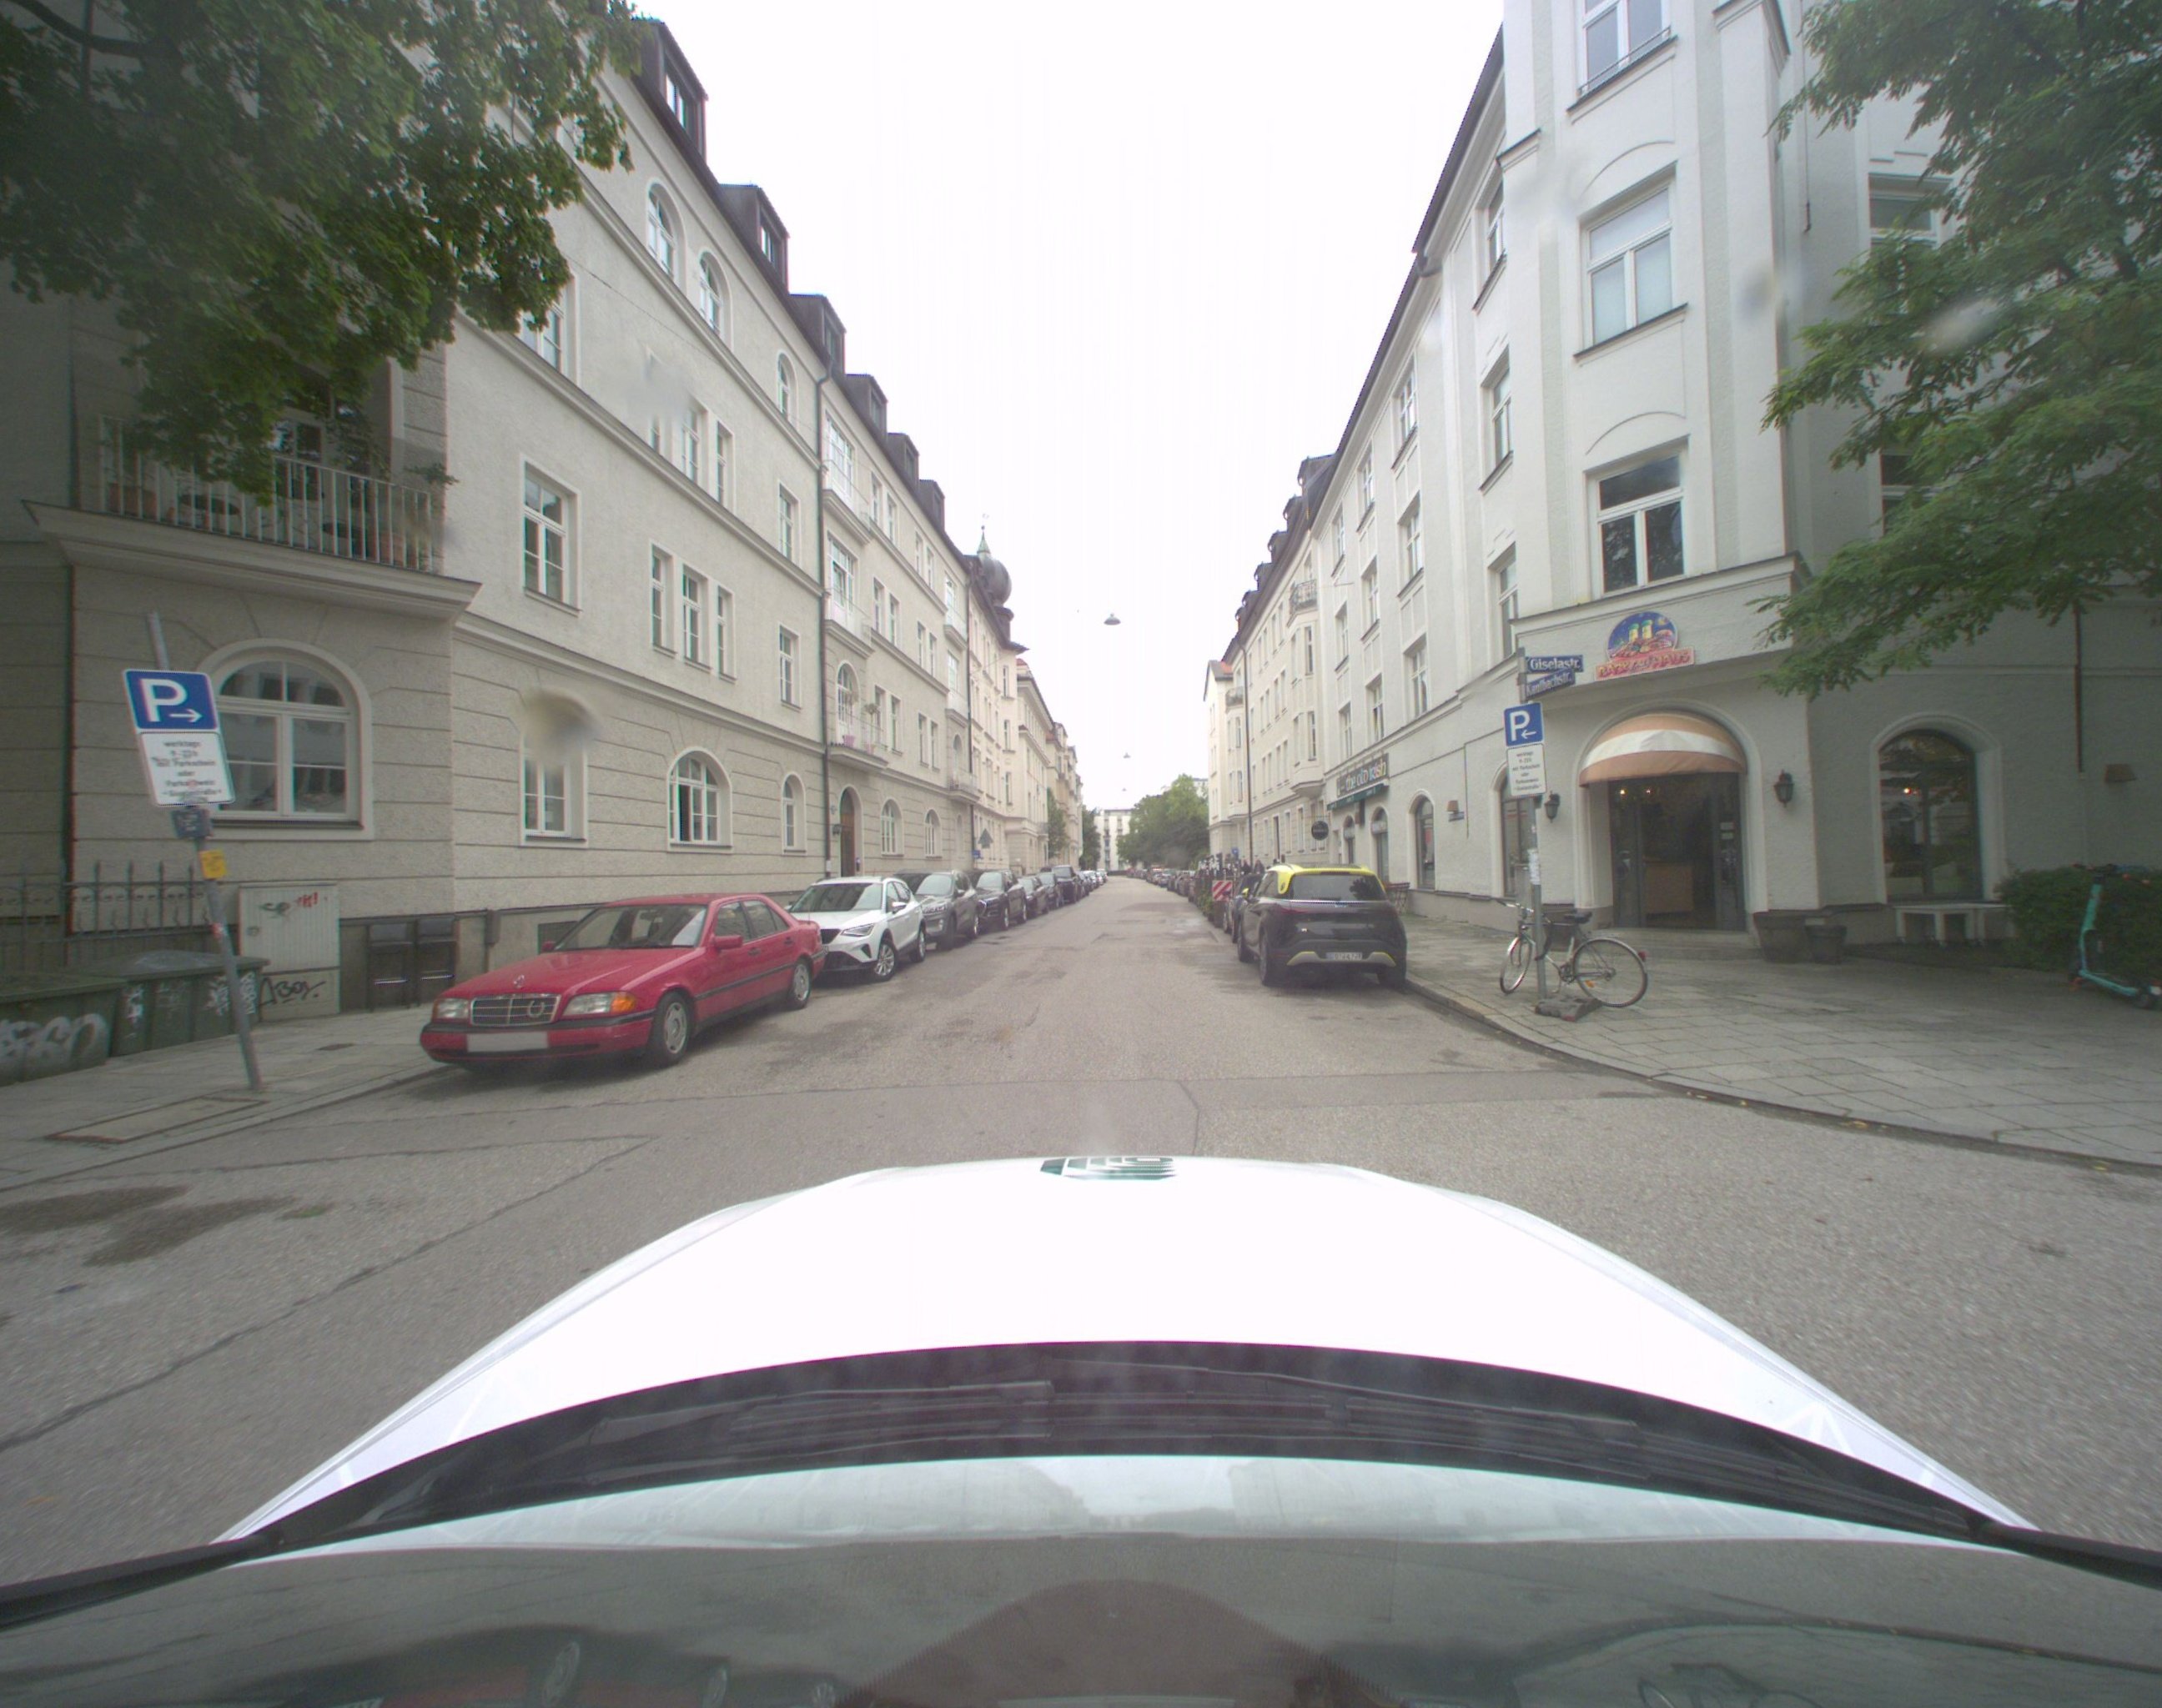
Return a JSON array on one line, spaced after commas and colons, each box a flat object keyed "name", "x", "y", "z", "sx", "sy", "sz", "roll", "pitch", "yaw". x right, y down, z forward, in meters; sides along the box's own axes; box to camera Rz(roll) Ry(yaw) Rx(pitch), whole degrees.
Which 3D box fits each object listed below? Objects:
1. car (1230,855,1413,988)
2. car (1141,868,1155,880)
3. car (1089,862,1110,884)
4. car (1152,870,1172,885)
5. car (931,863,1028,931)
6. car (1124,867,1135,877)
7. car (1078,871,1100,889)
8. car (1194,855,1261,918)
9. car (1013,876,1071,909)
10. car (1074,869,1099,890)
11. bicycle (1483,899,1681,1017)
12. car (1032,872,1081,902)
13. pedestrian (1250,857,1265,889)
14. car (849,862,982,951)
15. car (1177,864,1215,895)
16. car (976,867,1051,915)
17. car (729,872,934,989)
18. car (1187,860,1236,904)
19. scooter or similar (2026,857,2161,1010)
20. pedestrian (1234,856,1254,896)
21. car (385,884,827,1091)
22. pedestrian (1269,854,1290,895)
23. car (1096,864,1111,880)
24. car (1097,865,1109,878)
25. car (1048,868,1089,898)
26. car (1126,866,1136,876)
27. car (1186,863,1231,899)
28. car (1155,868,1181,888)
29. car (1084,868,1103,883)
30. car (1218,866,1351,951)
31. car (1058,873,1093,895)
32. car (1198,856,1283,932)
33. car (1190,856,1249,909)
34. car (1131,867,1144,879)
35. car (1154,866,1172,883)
[{"name": "car", "x": 3.384, "y": 0.867, "z": 12.282, "sx": 1.811, "sy": 1.636, "sz": 4.294, "roll": 1, "pitch": -1, "yaw": 4}, {"name": "car", "x": 10.401, "y": 3.115, "z": 125.984, "sx": 1.942, "sy": 1.652, "sz": 4.002, "roll": -3, "pitch": -1, "yaw": 2}, {"name": "car", "x": 1.816, "y": 1.805, "z": 79.203, "sx": 1.838, "sy": 2.014, "sz": 4.002, "roll": -1, "pitch": -1, "yaw": 3}, {"name": "car", "x": 8.077, "y": 2.320, "z": 81.016, "sx": 1.723, "sy": 1.418, "sz": 3.854, "roll": -1, "pitch": -1, "yaw": 2}, {"name": "car", "x": -2.720, "y": 1.135, "z": 22.826, "sx": 1.986, "sy": 1.676, "sz": 4.291, "roll": -1, "pitch": -1, "yaw": 2}, {"name": "car", "x": 9.795, "y": 3.567, "z": 165.525, "sx": 1.986, "sy": 1.982, "sz": 4.893, "roll": -1, "pitch": -1, "yaw": 1}, {"name": "car", "x": 0.695, "y": 2.142, "z": 68.849, "sx": 1.727, "sy": 1.420, "sz": 4.001, "roll": -1, "pitch": -1, "yaw": 1}, {"name": "car", "x": 4.791, "y": 1.033, "z": 27.121, "sx": 1.811, "sy": 1.923, "sz": 4.188, "roll": 1, "pitch": -1, "yaw": 4}, {"name": "car", "x": -1.595, "y": 1.592, "z": 34.653, "sx": 1.897, "sy": 1.222, "sz": 4.005, "roll": -1, "pitch": -1, "yaw": 5}, {"name": "car", "x": 0.469, "y": 1.938, "z": 62.892, "sx": 1.813, "sy": 1.574, "sz": 4.001, "roll": -1, "pitch": -1, "yaw": 2}, {"name": "bicycle", "x": 5.112, "y": 1.011, "z": 8.456, "sx": 0.541, "sy": 0.999, "sz": 1.744, "roll": -4, "pitch": 0, "yaw": -19}, {"name": "car", "x": -1.132, "y": 1.572, "z": 39.578, "sx": 1.897, "sy": 1.329, "sz": 4.005, "roll": -1, "pitch": -1, "yaw": 5}, {"name": "pedestrian", "x": 10.124, "y": 1.087, "z": 46.726, "sx": 0.773, "sy": 1.851, "sz": 0.862, "roll": -2, "pitch": -1, "yaw": 12}, {"name": "car", "x": -3.451, "y": 1.048, "z": 17.784, "sx": 1.986, "sy": 1.676, "sz": 4.013, "roll": -1, "pitch": -1, "yaw": 1}, {"name": "car", "x": 6.699, "y": 1.465, "z": 47.927, "sx": 1.984, "sy": 1.693, "sz": 4.177, "roll": -1, "pitch": -1, "yaw": 5}, {"name": "car", "x": -2.302, "y": 1.254, "z": 28.866, "sx": 1.916, "sy": 1.546, "sz": 4.006, "roll": -1, "pitch": -1, "yaw": 5}, {"name": "car", "x": -3.719, "y": 1.068, "z": 12.989, "sx": 1.988, "sy": 1.473, "sz": 4.216, "roll": -1, "pitch": -1, "yaw": -1}, {"name": "car", "x": 5.709, "y": 1.197, "z": 35.979, "sx": 1.811, "sy": 1.787, "sz": 4.188, "roll": 1, "pitch": -1, "yaw": 4}, {"name": "scooter or similar", "x": 9.436, "y": 0.685, "z": 7.565, "sx": 0.423, "sy": 1.279, "sz": 1.287, "roll": -1, "pitch": 1, "yaw": 29}, {"name": "pedestrian", "x": 7.718, "y": 1.037, "z": 38.486, "sx": 0.774, "sy": 1.851, "sz": 1.024, "roll": -2, "pitch": -1, "yaw": 5}, {"name": "car", "x": -4.141, "y": 1.057, "z": 8.066, "sx": 1.723, "sy": 1.378, "sz": 4.229, "roll": -1, "pitch": -1, "yaw": 3}, {"name": "pedestrian", "x": 9.234, "y": 0.952, "z": 37.887, "sx": 0.774, "sy": 1.851, "sz": 1.024, "roll": -2, "pitch": -1, "yaw": 5}, {"name": "car", "x": 2.992, "y": 2.323, "z": 107.910, "sx": 1.838, "sy": 2.014, "sz": 4.002, "roll": -1, "pitch": -1, "yaw": 3}, {"name": "car", "x": 3.464, "y": 2.729, "z": 129.177, "sx": 1.838, "sy": 2.014, "sz": 4.002, "roll": -1, "pitch": -1, "yaw": 3}, {"name": "car", "x": -0.613, "y": 1.539, "z": 43.749, "sx": 1.725, "sy": 1.464, "sz": 4.006, "roll": -1, "pitch": -1, "yaw": 5}, {"name": "car", "x": 10.799, "y": 3.667, "z": 177.346, "sx": 1.986, "sy": 1.982, "sz": 4.893, "roll": -1, "pitch": -1, "yaw": 1}, {"name": "car", "x": 6.495, "y": 1.352, "z": 41.794, "sx": 1.984, "sy": 1.693, "sz": 4.177, "roll": -1, "pitch": -1, "yaw": 5}, {"name": "car", "x": 7.460, "y": 2.068, "z": 70.298, "sx": 1.899, "sy": 1.576, "sz": 4.002, "roll": -1, "pitch": -1, "yaw": 2}, {"name": "car", "x": 1.393, "y": 2.395, "z": 90.011, "sx": 1.986, "sy": 1.574, "sz": 4.001, "roll": -1, "pitch": -1, "yaw": 2}, {"name": "car", "x": 4.082, "y": 1.020, "z": 17.113, "sx": 1.967, "sy": 1.498, "sz": 4.643, "roll": 1, "pitch": -1, "yaw": 4}, {"name": "car", "x": -0.328, "y": 1.872, "z": 51.327, "sx": 1.898, "sy": 1.222, "sz": 4.003, "roll": -1, "pitch": -1, "yaw": 3}, {"name": "car", "x": 4.293, "y": 1.018, "z": 22.486, "sx": 1.811, "sy": 1.871, "sz": 4.294, "roll": 1, "pitch": -1, "yaw": 4}, {"name": "car", "x": 5.279, "y": 1.046, "z": 31.469, "sx": 1.983, "sy": 1.857, "sz": 4.352, "roll": -1, "pitch": -1, "yaw": 6}, {"name": "car", "x": 9.520, "y": 3.161, "z": 136.419, "sx": 1.986, "sy": 1.789, "sz": 4.067, "roll": -1, "pitch": -1, "yaw": 2}, {"name": "car", "x": 9.956, "y": 2.484, "z": 99.024, "sx": 1.985, "sy": 1.982, "sz": 4.896, "roll": -1, "pitch": -1, "yaw": 3}]
